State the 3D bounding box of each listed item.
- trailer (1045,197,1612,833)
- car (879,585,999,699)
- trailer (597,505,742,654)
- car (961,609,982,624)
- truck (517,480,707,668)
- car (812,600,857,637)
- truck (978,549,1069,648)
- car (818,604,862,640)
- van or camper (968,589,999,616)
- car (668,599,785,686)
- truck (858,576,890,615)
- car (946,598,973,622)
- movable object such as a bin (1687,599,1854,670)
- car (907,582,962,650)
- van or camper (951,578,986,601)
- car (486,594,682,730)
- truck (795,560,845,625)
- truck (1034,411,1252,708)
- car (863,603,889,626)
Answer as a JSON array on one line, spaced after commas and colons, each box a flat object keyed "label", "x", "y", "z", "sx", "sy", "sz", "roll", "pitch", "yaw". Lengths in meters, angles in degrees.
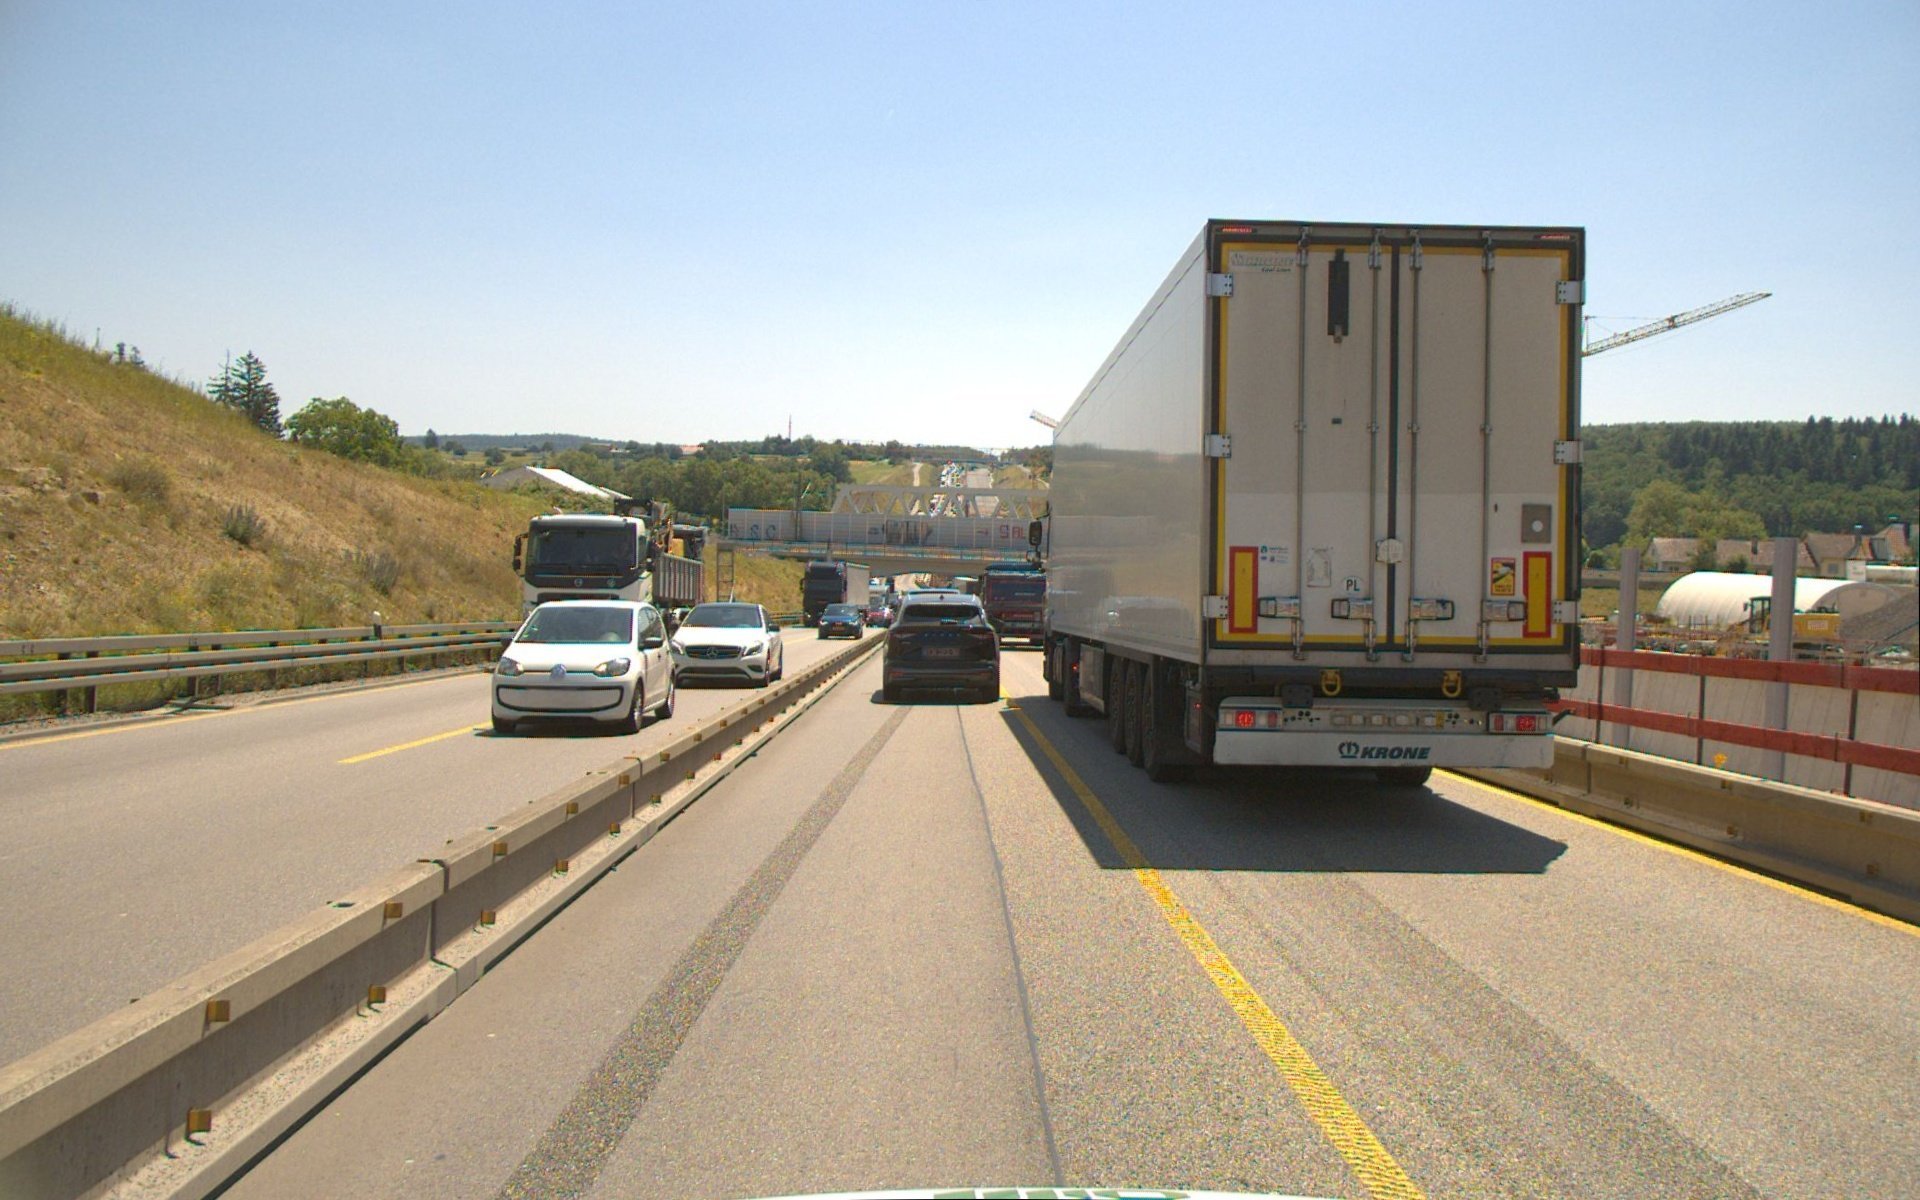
[{"label": "trailer", "x": 2.783, "y": -0.526, "z": 17.884, "sx": 2.744, "sy": 4.129, "sz": 14.113, "roll": 1, "pitch": 0, "yaw": -1}, {"label": "car", "x": -0.330, "y": 0.600, "z": 25.913, "sx": 1.764, "sy": 1.648, "sz": 3.297, "roll": 0, "pitch": 1, "yaw": -1}, {"label": "trailer", "x": -7.872, "y": -0.506, "z": 45.901, "sx": 2.534, "sy": 3.701, "sz": 9.076, "roll": 0, "pitch": 0, "yaw": -1}, {"label": "car", "x": 0.943, "y": 1.331, "z": 134.292, "sx": 1.508, "sy": 1.227, "sz": 3.309, "roll": 0, "pitch": 0, "yaw": -3}, {"label": "truck", "x": -7.744, "y": -0.523, "z": 38.103, "sx": 2.534, "sy": 3.788, "sz": 9.330, "roll": 0, "pitch": 0, "yaw": -1}, {"label": "car", "x": -5.075, "y": 0.740, "z": 67.263, "sx": 1.650, "sy": 1.455, "sz": 3.848, "roll": 0, "pitch": 0, "yaw": -2}, {"label": "truck", "x": 2.143, "y": -0.045, "z": 60.308, "sx": 2.756, "sy": 3.190, "sz": 12.836, "roll": 1, "pitch": 0, "yaw": 0}, {"label": "car", "x": -4.925, "y": 0.895, "z": 68.031, "sx": 1.655, "sy": 1.427, "sz": 3.685, "roll": 0, "pitch": 0, "yaw": -2}, {"label": "van or camper", "x": 3.156, "y": 0.313, "z": 220.235, "sx": 3.861, "sy": 3.479, "sz": 8.409, "roll": 1, "pitch": 0, "yaw": 3}, {"label": "car", "x": -4.149, "y": 0.710, "z": 29.877, "sx": 1.650, "sy": 1.455, "sz": 4.120, "roll": 0, "pitch": 0, "yaw": -2}, {"label": "truck", "x": -6.668, "y": -0.337, "z": 129.155, "sx": 2.222, "sy": 2.933, "sz": 5.850, "roll": 1, "pitch": 0, "yaw": -1}, {"label": "car", "x": -0.025, "y": 0.602, "z": 99.128, "sx": 1.461, "sy": 1.354, "sz": 3.243, "roll": 2, "pitch": 0, "yaw": -2}, {"label": "movable object such as a bin", "x": 36.263, "y": 1.450, "z": 74.508, "sx": 2.828, "sy": 2.960, "sz": 9.478, "roll": 1, "pitch": 0, "yaw": 0}, {"label": "car", "x": -0.695, "y": 0.438, "z": 46.353, "sx": 1.444, "sy": 1.826, "sz": 3.297, "roll": -1, "pitch": 0, "yaw": 0}, {"label": "van or camper", "x": 1.243, "y": -1.625, "z": 255.190, "sx": 3.873, "sy": 3.479, "sz": 8.383, "roll": 1, "pitch": 0, "yaw": -11}, {"label": "car", "x": -4.338, "y": 0.669, "z": 19.524, "sx": 1.650, "sy": 1.455, "sz": 3.291, "roll": 0, "pitch": 0, "yaw": -2}, {"label": "truck", "x": -8.730, "y": -0.453, "z": 103.340, "sx": 2.711, "sy": 3.952, "sz": 4.963, "roll": 1, "pitch": 0, "yaw": -1}, {"label": "truck", "x": 2.676, "y": -0.554, "z": 25.642, "sx": 2.720, "sy": 4.129, "sz": 4.903, "roll": 1, "pitch": 0, "yaw": -1}, {"label": "car", "x": -5.459, "y": 0.935, "z": 108.102, "sx": 1.558, "sy": 1.513, "sz": 3.294, "roll": 0, "pitch": 0, "yaw": -1}]
